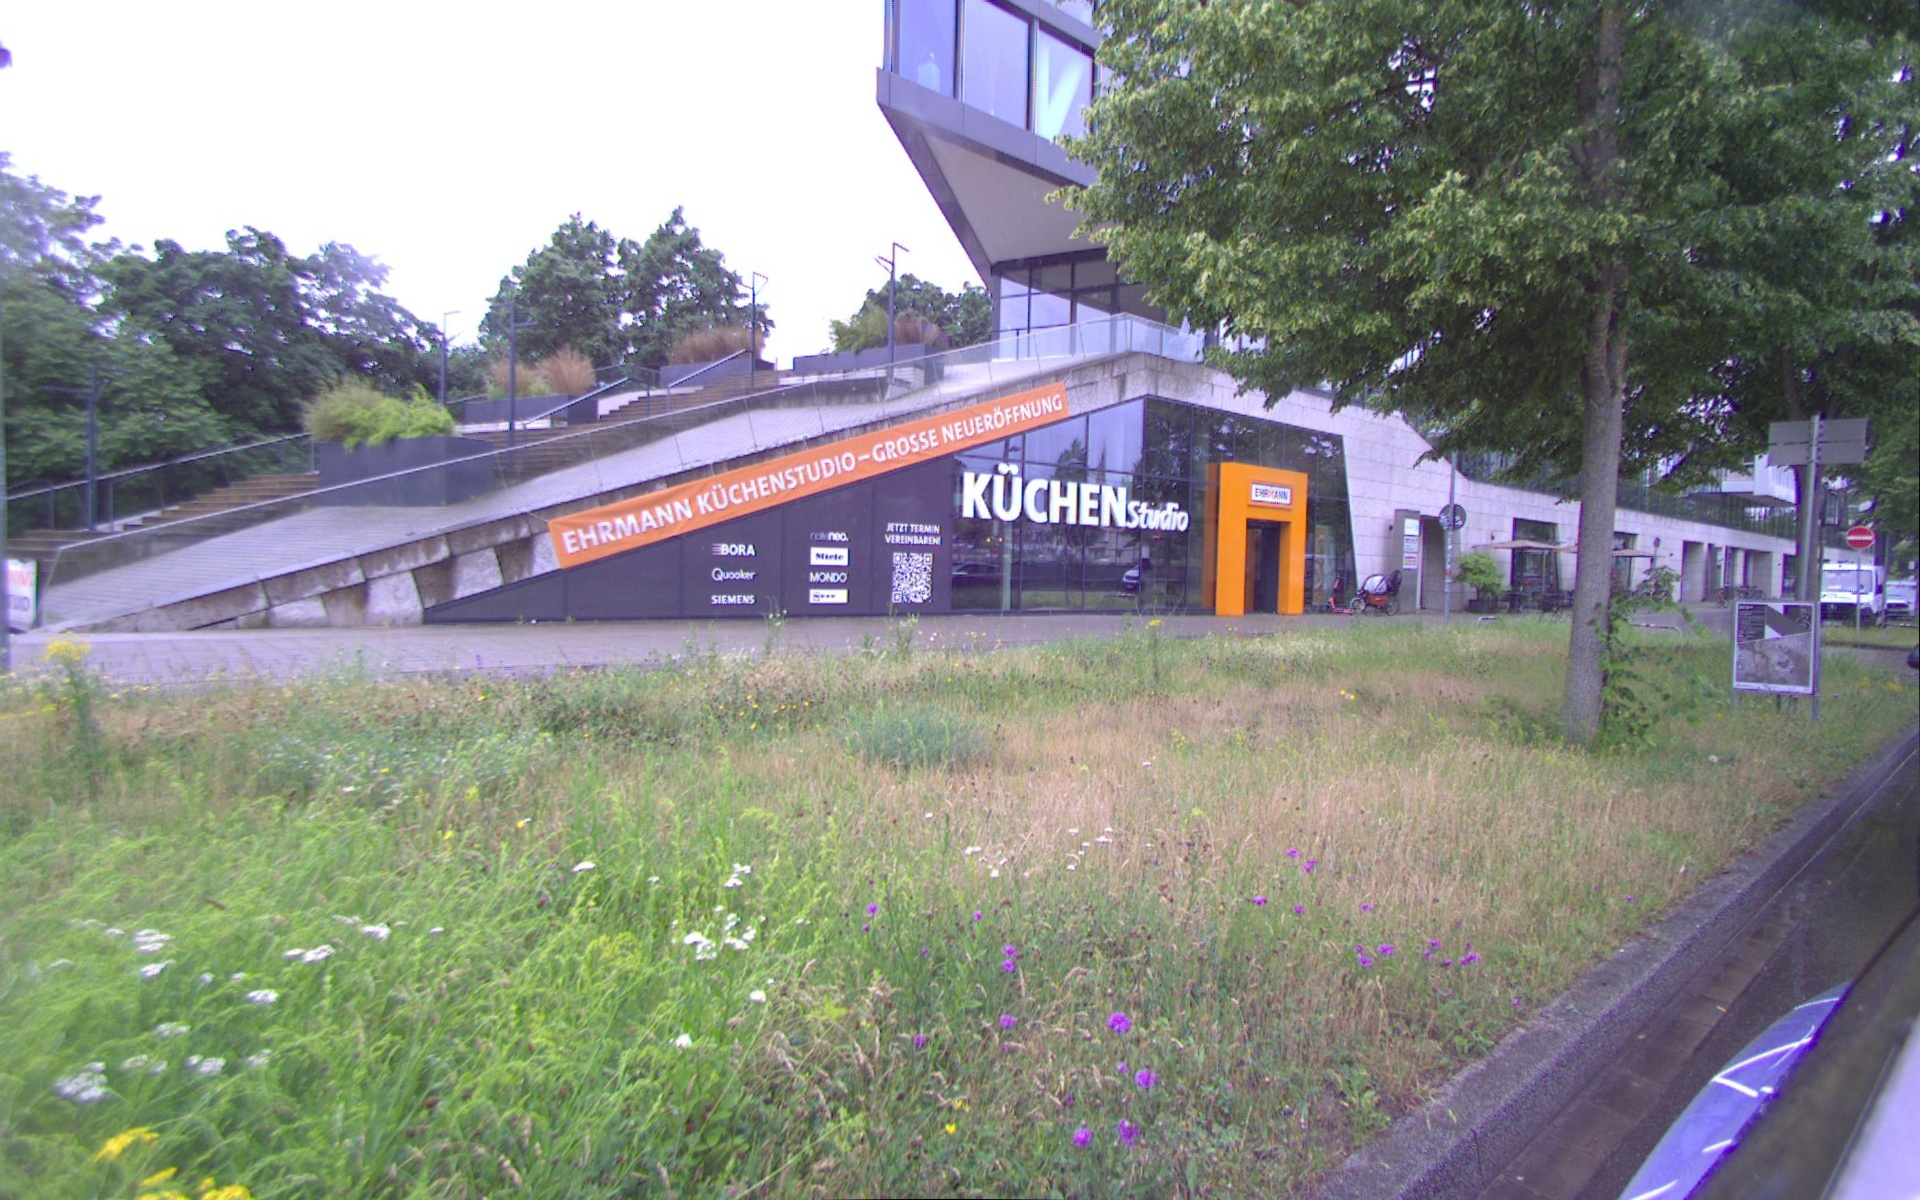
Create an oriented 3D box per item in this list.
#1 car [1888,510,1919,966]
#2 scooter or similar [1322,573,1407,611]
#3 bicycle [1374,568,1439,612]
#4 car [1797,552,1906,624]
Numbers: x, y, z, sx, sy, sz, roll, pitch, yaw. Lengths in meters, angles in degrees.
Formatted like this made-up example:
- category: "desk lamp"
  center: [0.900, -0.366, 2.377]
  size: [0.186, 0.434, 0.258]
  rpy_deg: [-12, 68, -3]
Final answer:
- category: "car"
  center: [5.913, 0.572, 4.682]
  size: [4.306, 1.769, 1.915]
  rpy_deg: [1, -1, -41]
- category: "scooter or similar"
  center: [12.377, -0.250, 30.959]
  size: [2.560, 1.113, 0.814]
  rpy_deg: [0, 0, -23]
- category: "bicycle"
  center: [14.482, -0.337, 32.775]
  size: [2.650, 1.364, 0.882]
  rpy_deg: [-1, 0, -41]
- category: "car"
  center: [29.666, -0.406, 33.619]
  size: [5.008, 2.229, 2.083]
  rpy_deg: [-1, 0, -41]
